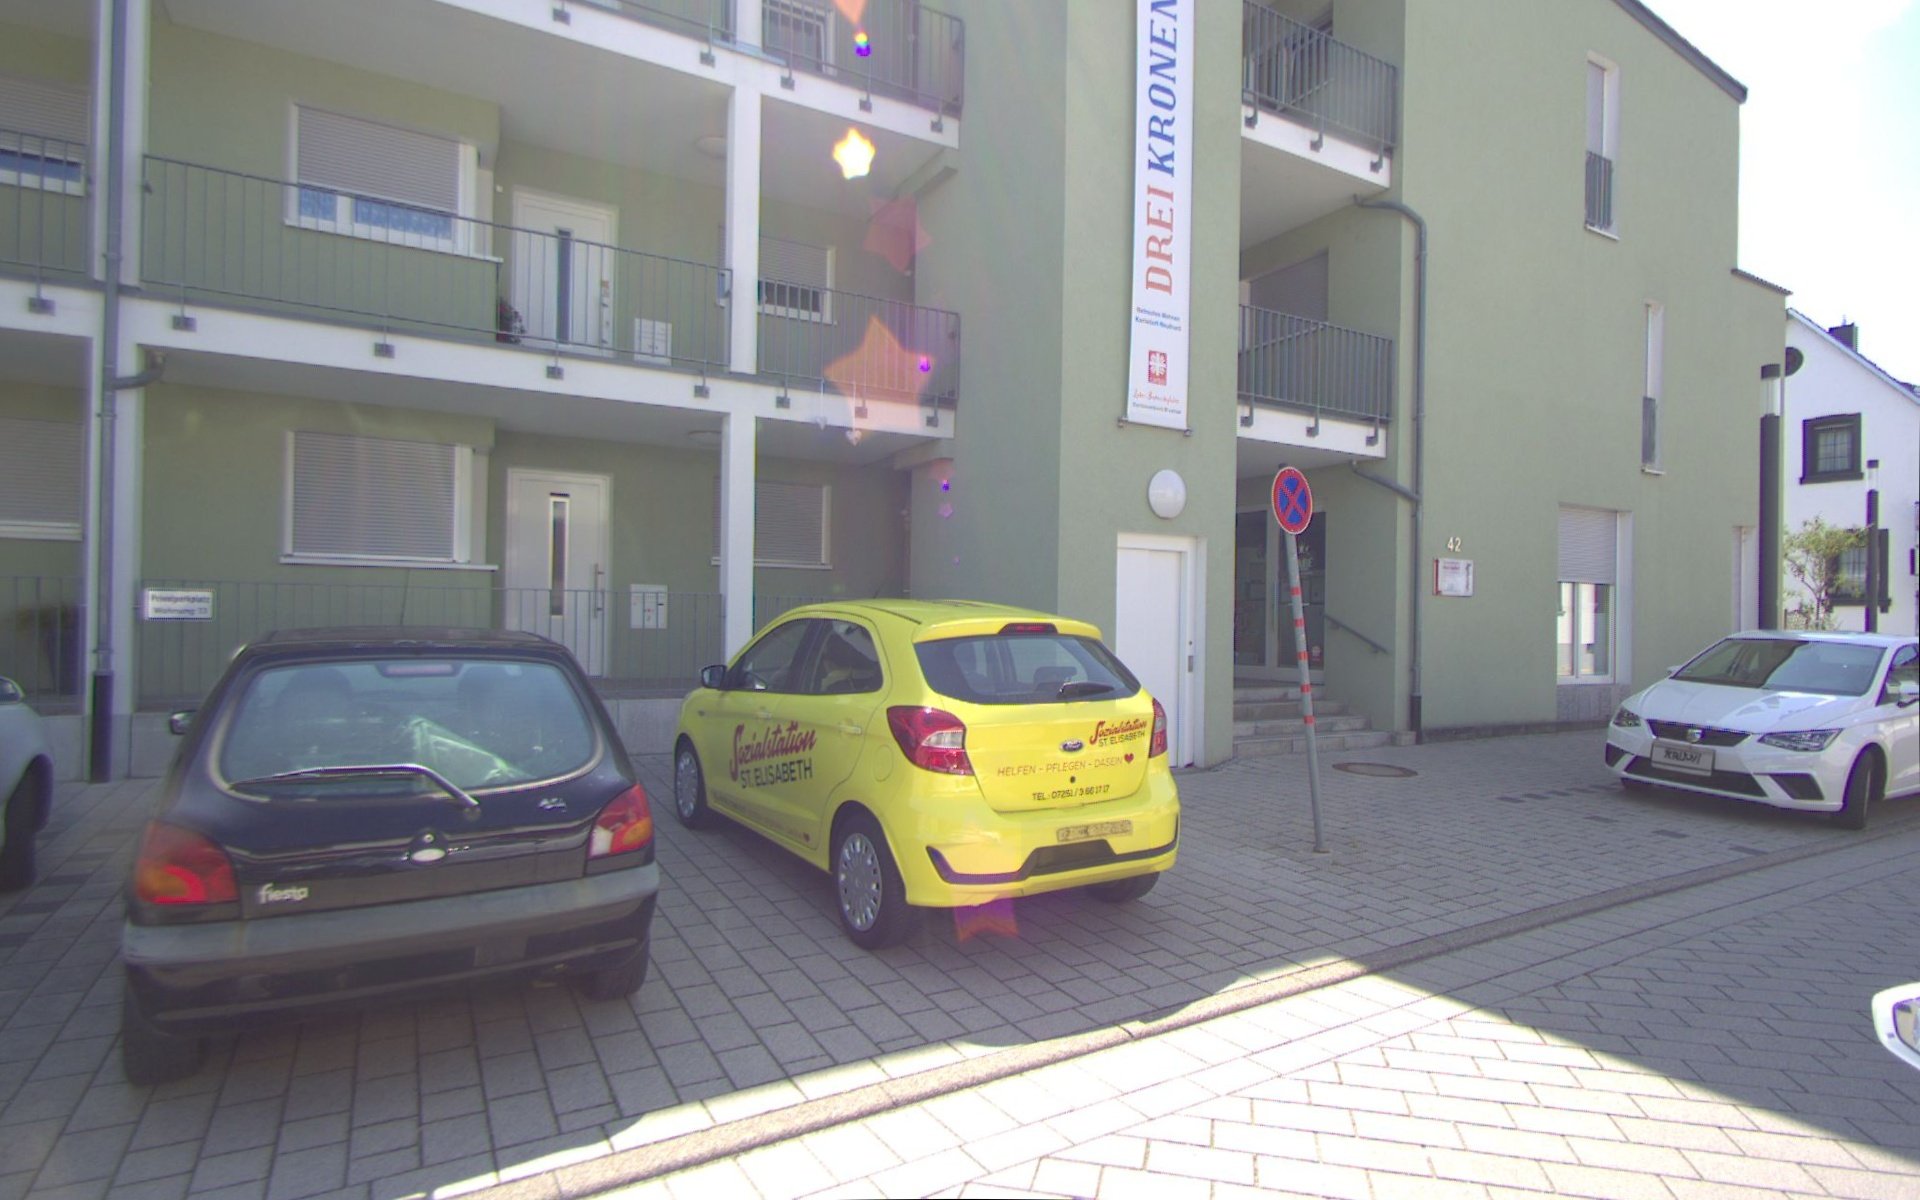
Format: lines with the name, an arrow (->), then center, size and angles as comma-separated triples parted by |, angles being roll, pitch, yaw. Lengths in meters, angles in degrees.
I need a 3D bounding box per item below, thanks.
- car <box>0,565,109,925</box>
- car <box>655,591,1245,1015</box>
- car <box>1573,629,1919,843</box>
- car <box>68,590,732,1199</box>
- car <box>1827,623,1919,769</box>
car -> -4.664, 0.627, 3.517 | 1.729, 1.523, 3.885 | 1, 1, -28
car -> -0.366, 0.783, 5.849 | 1.656, 1.546, 3.668 | 1, 1, -35
car -> 7.363, 1.016, 8.814 | 3.831, 1.430, 1.749 | 1, 1, -30
car -> -2.462, 0.768, 4.669 | 1.671, 1.461, 3.968 | 1, 2, -29
car -> 12.057, 1.073, 11.583 | 4.226, 1.510, 1.805 | 1, 1, -30
